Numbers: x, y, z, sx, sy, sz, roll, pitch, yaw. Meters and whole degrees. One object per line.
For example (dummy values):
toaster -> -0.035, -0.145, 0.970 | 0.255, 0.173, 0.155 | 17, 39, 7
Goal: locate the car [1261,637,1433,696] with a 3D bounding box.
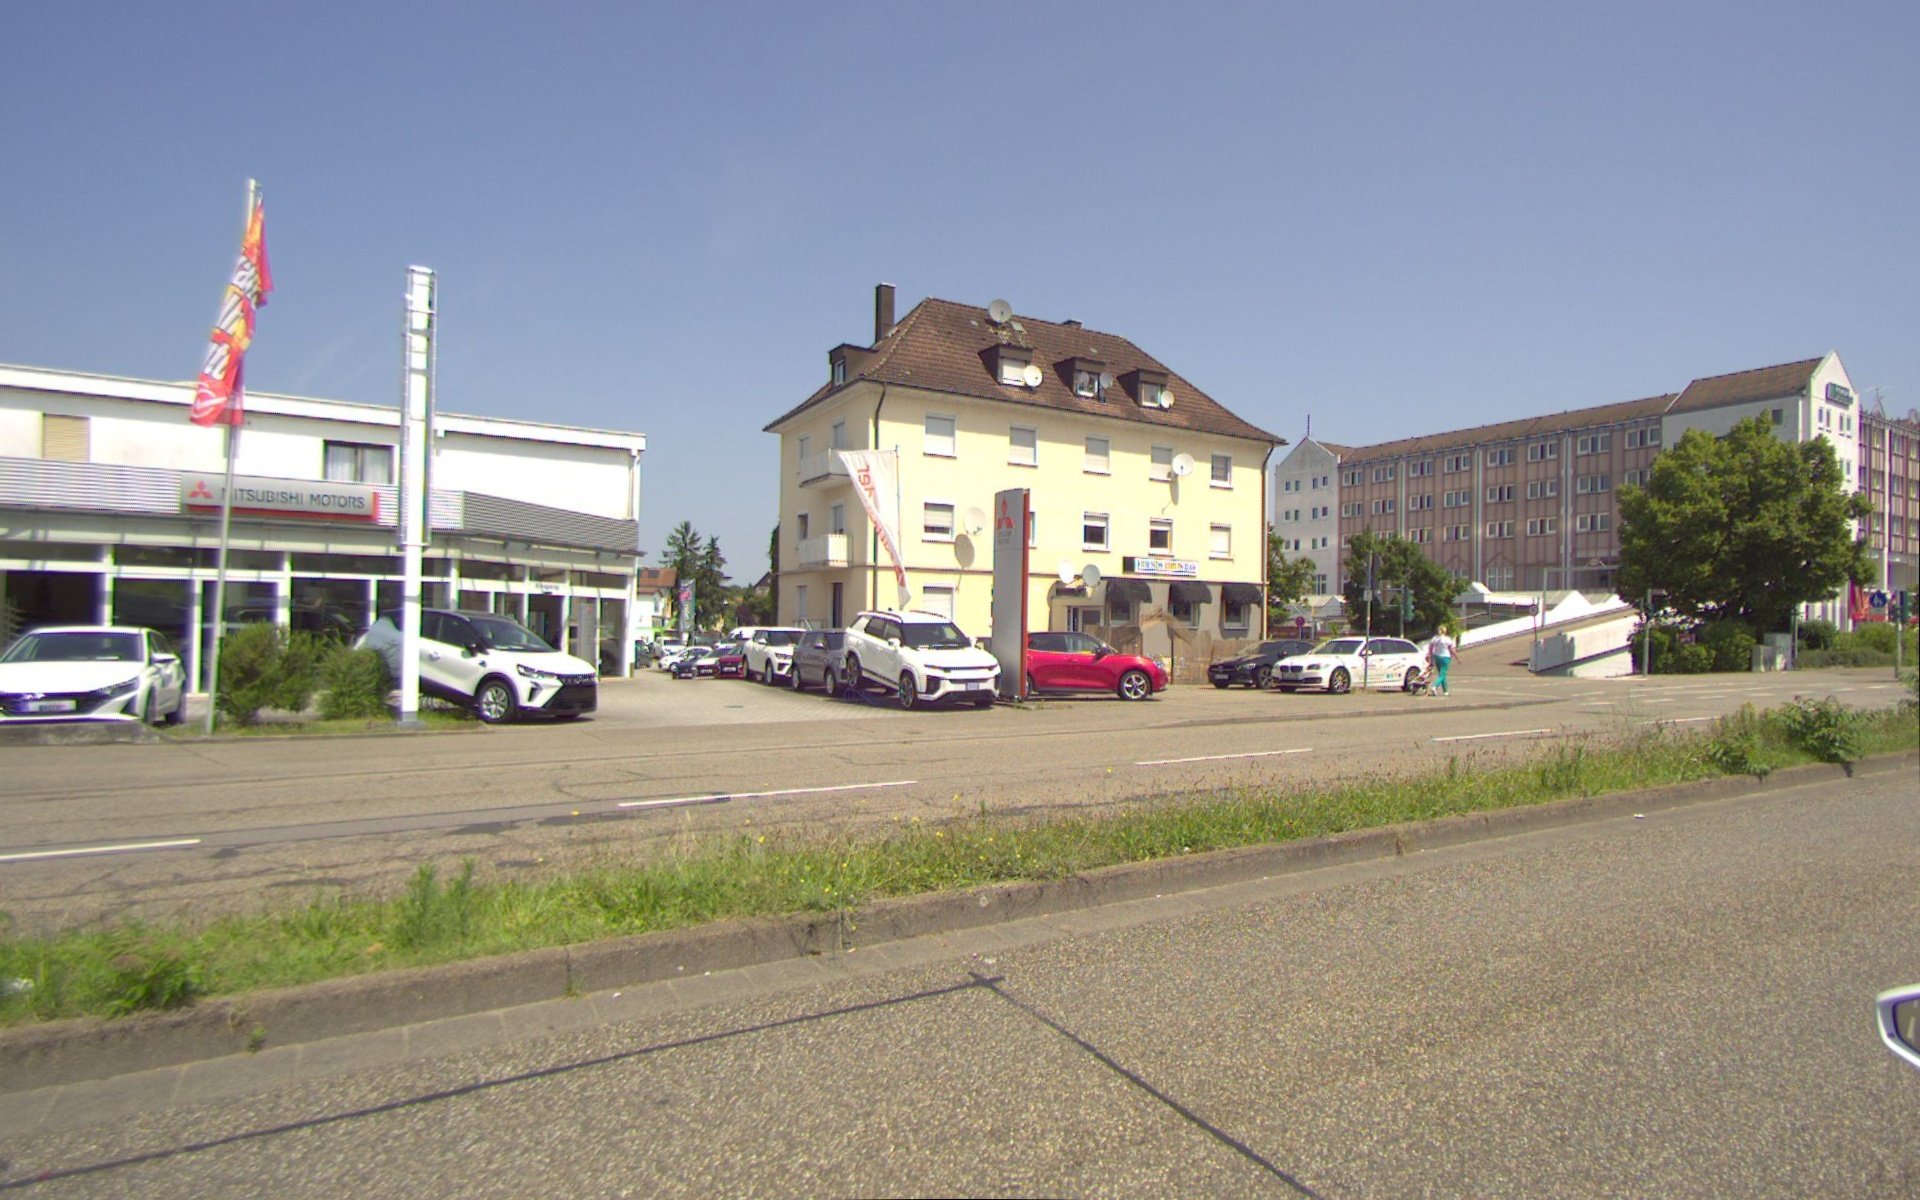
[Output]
car -> 10.281, 1.716, 26.601 | 4.705, 1.429, 1.767 | 1, -2, -31

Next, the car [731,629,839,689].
car -> -5.226, 1.677, 29.561 | 1.844, 1.636, 3.967 | 1, -2, -31

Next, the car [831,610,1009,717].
car -> -0.974, 1.202, 20.837 | 1.739, 1.732, 4.523 | 1, 2, -30

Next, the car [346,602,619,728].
car -> -7.862, 1.006, 16.592 | 3.922, 1.645, 1.760 | 4, 0, 20

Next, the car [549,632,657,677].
car -> -11.506, 1.741, 32.363 | 3.098, 1.381, 1.316 | 1, -2, -30

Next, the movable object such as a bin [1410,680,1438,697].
movable object such as a bin -> 11.347, 2.156, 24.563 | 0.500, 0.377, 0.414 | 1, -2, -30

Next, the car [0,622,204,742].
car -> -11.895, 1.028, 13.941 | 1.839, 1.413, 3.966 | 1, -2, -32

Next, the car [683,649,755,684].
car -> -9.363, 2.564, 39.243 | 1.510, 1.231, 3.496 | 0, -2, 8

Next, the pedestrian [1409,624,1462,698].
pedestrian -> 11.692, 1.482, 24.711 | 1.021, 1.770, 0.737 | 1, -1, -29

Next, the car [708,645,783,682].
car -> -7.705, 2.264, 36.297 | 1.510, 1.231, 3.496 | 0, -2, 8

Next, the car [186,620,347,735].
car -> -10.225, 1.053, 15.067 | 1.740, 1.486, 3.966 | 1, -2, -32

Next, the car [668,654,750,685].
car -> -10.391, 2.862, 41.607 | 2.971, 1.159, 1.528 | 2, -2, -33

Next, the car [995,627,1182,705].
car -> 2.886, 1.474, 23.091 | 4.094, 1.664, 1.841 | 0, -1, 4

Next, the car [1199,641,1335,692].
car -> 9.000, 1.887, 29.351 | 3.958, 1.369, 1.722 | 1, -2, -34

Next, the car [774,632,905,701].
car -> -3.111, 1.602, 25.249 | 1.844, 1.550, 3.967 | 1, -2, -31
